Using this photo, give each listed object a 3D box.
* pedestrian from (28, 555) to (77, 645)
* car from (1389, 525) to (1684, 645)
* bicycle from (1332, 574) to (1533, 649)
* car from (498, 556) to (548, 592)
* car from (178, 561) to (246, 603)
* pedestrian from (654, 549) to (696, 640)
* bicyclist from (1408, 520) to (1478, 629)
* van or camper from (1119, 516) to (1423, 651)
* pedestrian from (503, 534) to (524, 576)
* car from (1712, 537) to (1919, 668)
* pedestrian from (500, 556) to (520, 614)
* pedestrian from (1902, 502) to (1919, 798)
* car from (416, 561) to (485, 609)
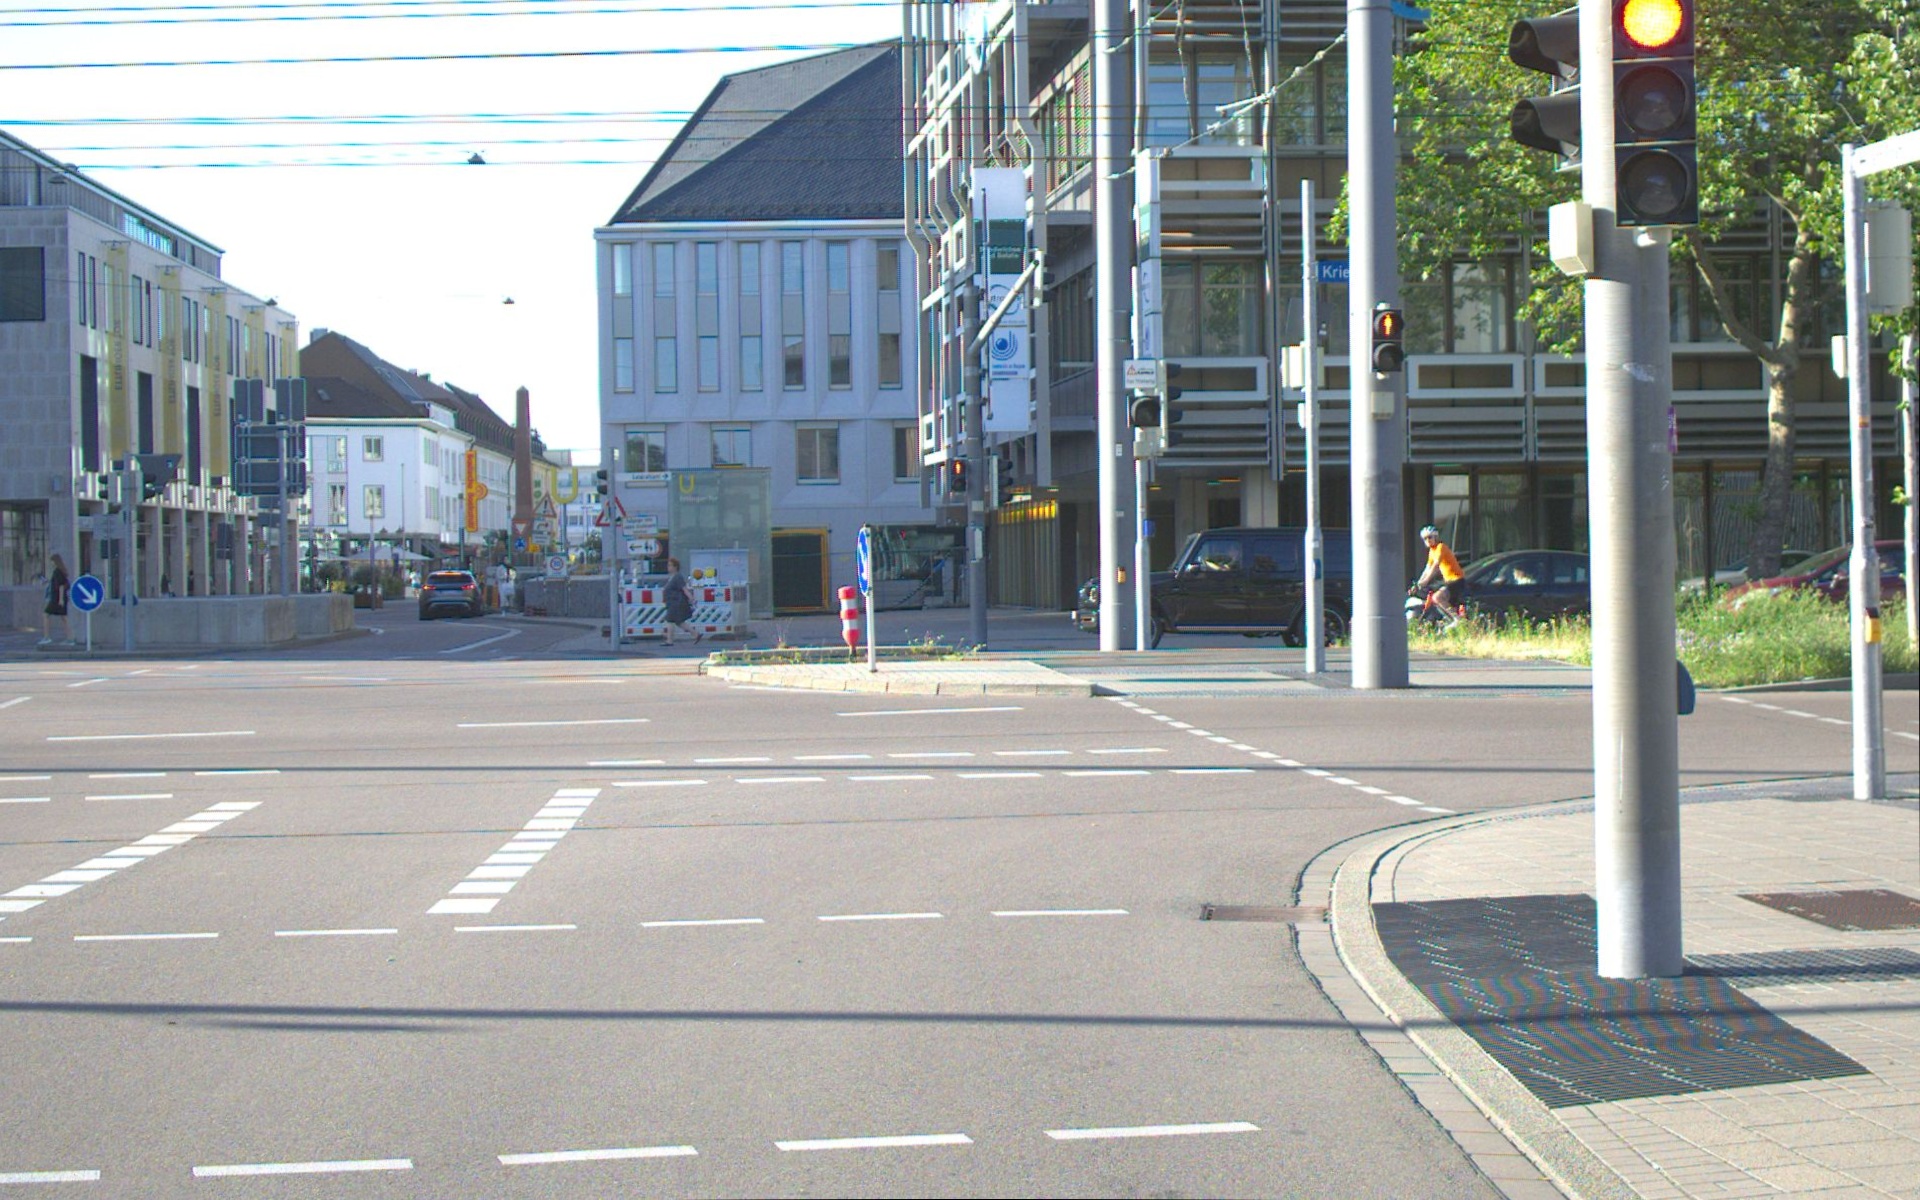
[{"bbox_3d":[-16.813,-0.002,63.707,0.776,1.632,0.626,-1,1,-7],"label":"pedestrian"},{"bbox_3d":[8.421,-0.236,50.397,3.986,1.678,1.761,-1,1,-1],"label":"car"},{"bbox_3d":[6.460,0.155,47.113,2.568,0.972,1.047,-1,1,-3],"label":"bicycle"},{"bbox_3d":[-18.554,-1.124,146.080,1.658,1.453,3.542,-1,1,-1],"label":"car"},{"bbox_3d":[-26.547,-0.647,122.167,1.658,1.453,3.542,-1,1,-1],"label":"car"},{"bbox_3d":[-5.320,-0.106,64.220,0.700,1.682,0.619,-1,1,0],"label":"pedestrian"},{"bbox_3d":[6.617,-0.354,47.123,0.822,1.469,0.652,-1,1,-4],"label":"bicyclist"},{"bbox_3d":[4.797,-0.269,53.451,4.414,2.007,1.995,-1,1,-5],"label":"van or camper"},{"bbox_3d":[-21.384,-2.156,164.684,0.910,1.958,0.823,1,0,-1],"label":"pedestrian"},{"bbox_3d":[12.548,0.001,46.442,4.287,1.678,1.826,-1,1,-10],"label":"car"},{"bbox_3d":[-12.850,-0.422,98.115,0.489,1.658,0.532,1,0,-14],"label":"pedestrian"},{"bbox_3d":[5.684,0.263,18.916,0.872,1.608,0.767,0,1,22],"label":"pedestrian"},{"bbox_3d":[-16.011,-0.479,108.077,1.658,1.453,3.542,-1,1,-1],"label":"car"}]
